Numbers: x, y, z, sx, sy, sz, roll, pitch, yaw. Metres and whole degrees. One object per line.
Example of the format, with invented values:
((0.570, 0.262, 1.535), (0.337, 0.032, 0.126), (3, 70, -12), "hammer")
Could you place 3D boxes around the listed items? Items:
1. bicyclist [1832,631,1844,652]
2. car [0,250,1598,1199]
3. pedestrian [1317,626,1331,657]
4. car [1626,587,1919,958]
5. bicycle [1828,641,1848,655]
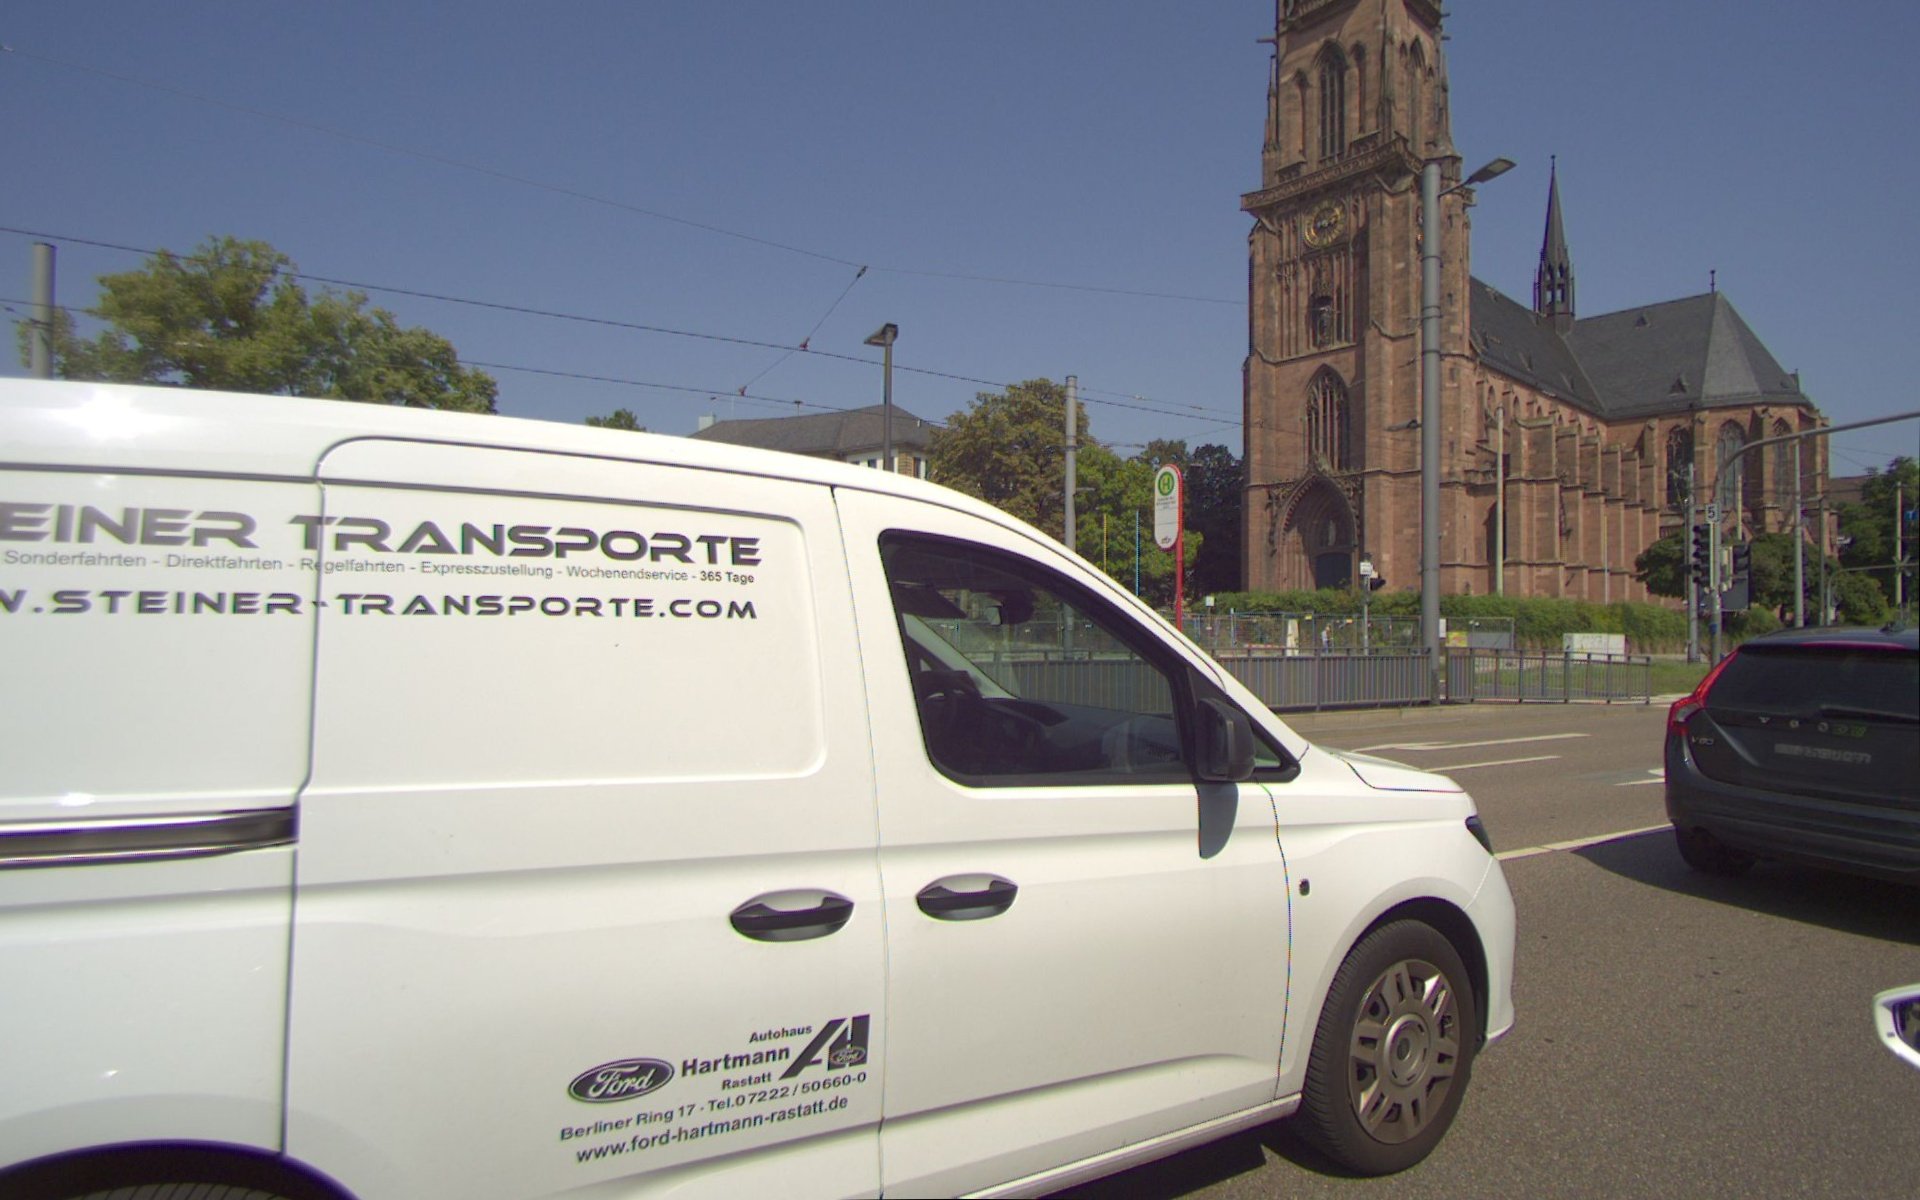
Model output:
((56.546, 2.698, 64.683), (0.419, 1.339, 0.446), (1, -2, -28), "bicyclist")
((-0.336, 0.531, 2.700), (4.189, 1.844, 1.739), (1, -1, -30), "car")
((18.594, 2.125, 51.317), (0.536, 1.551, 0.434), (-1, -2, 36), "pedestrian")
((5.921, 0.799, 5.817), (4.257, 1.636, 1.739), (1, 0, -30), "car")
((56.530, 3.099, 64.671), (1.457, 0.871, 0.452), (1, -2, -29), "bicycle")
